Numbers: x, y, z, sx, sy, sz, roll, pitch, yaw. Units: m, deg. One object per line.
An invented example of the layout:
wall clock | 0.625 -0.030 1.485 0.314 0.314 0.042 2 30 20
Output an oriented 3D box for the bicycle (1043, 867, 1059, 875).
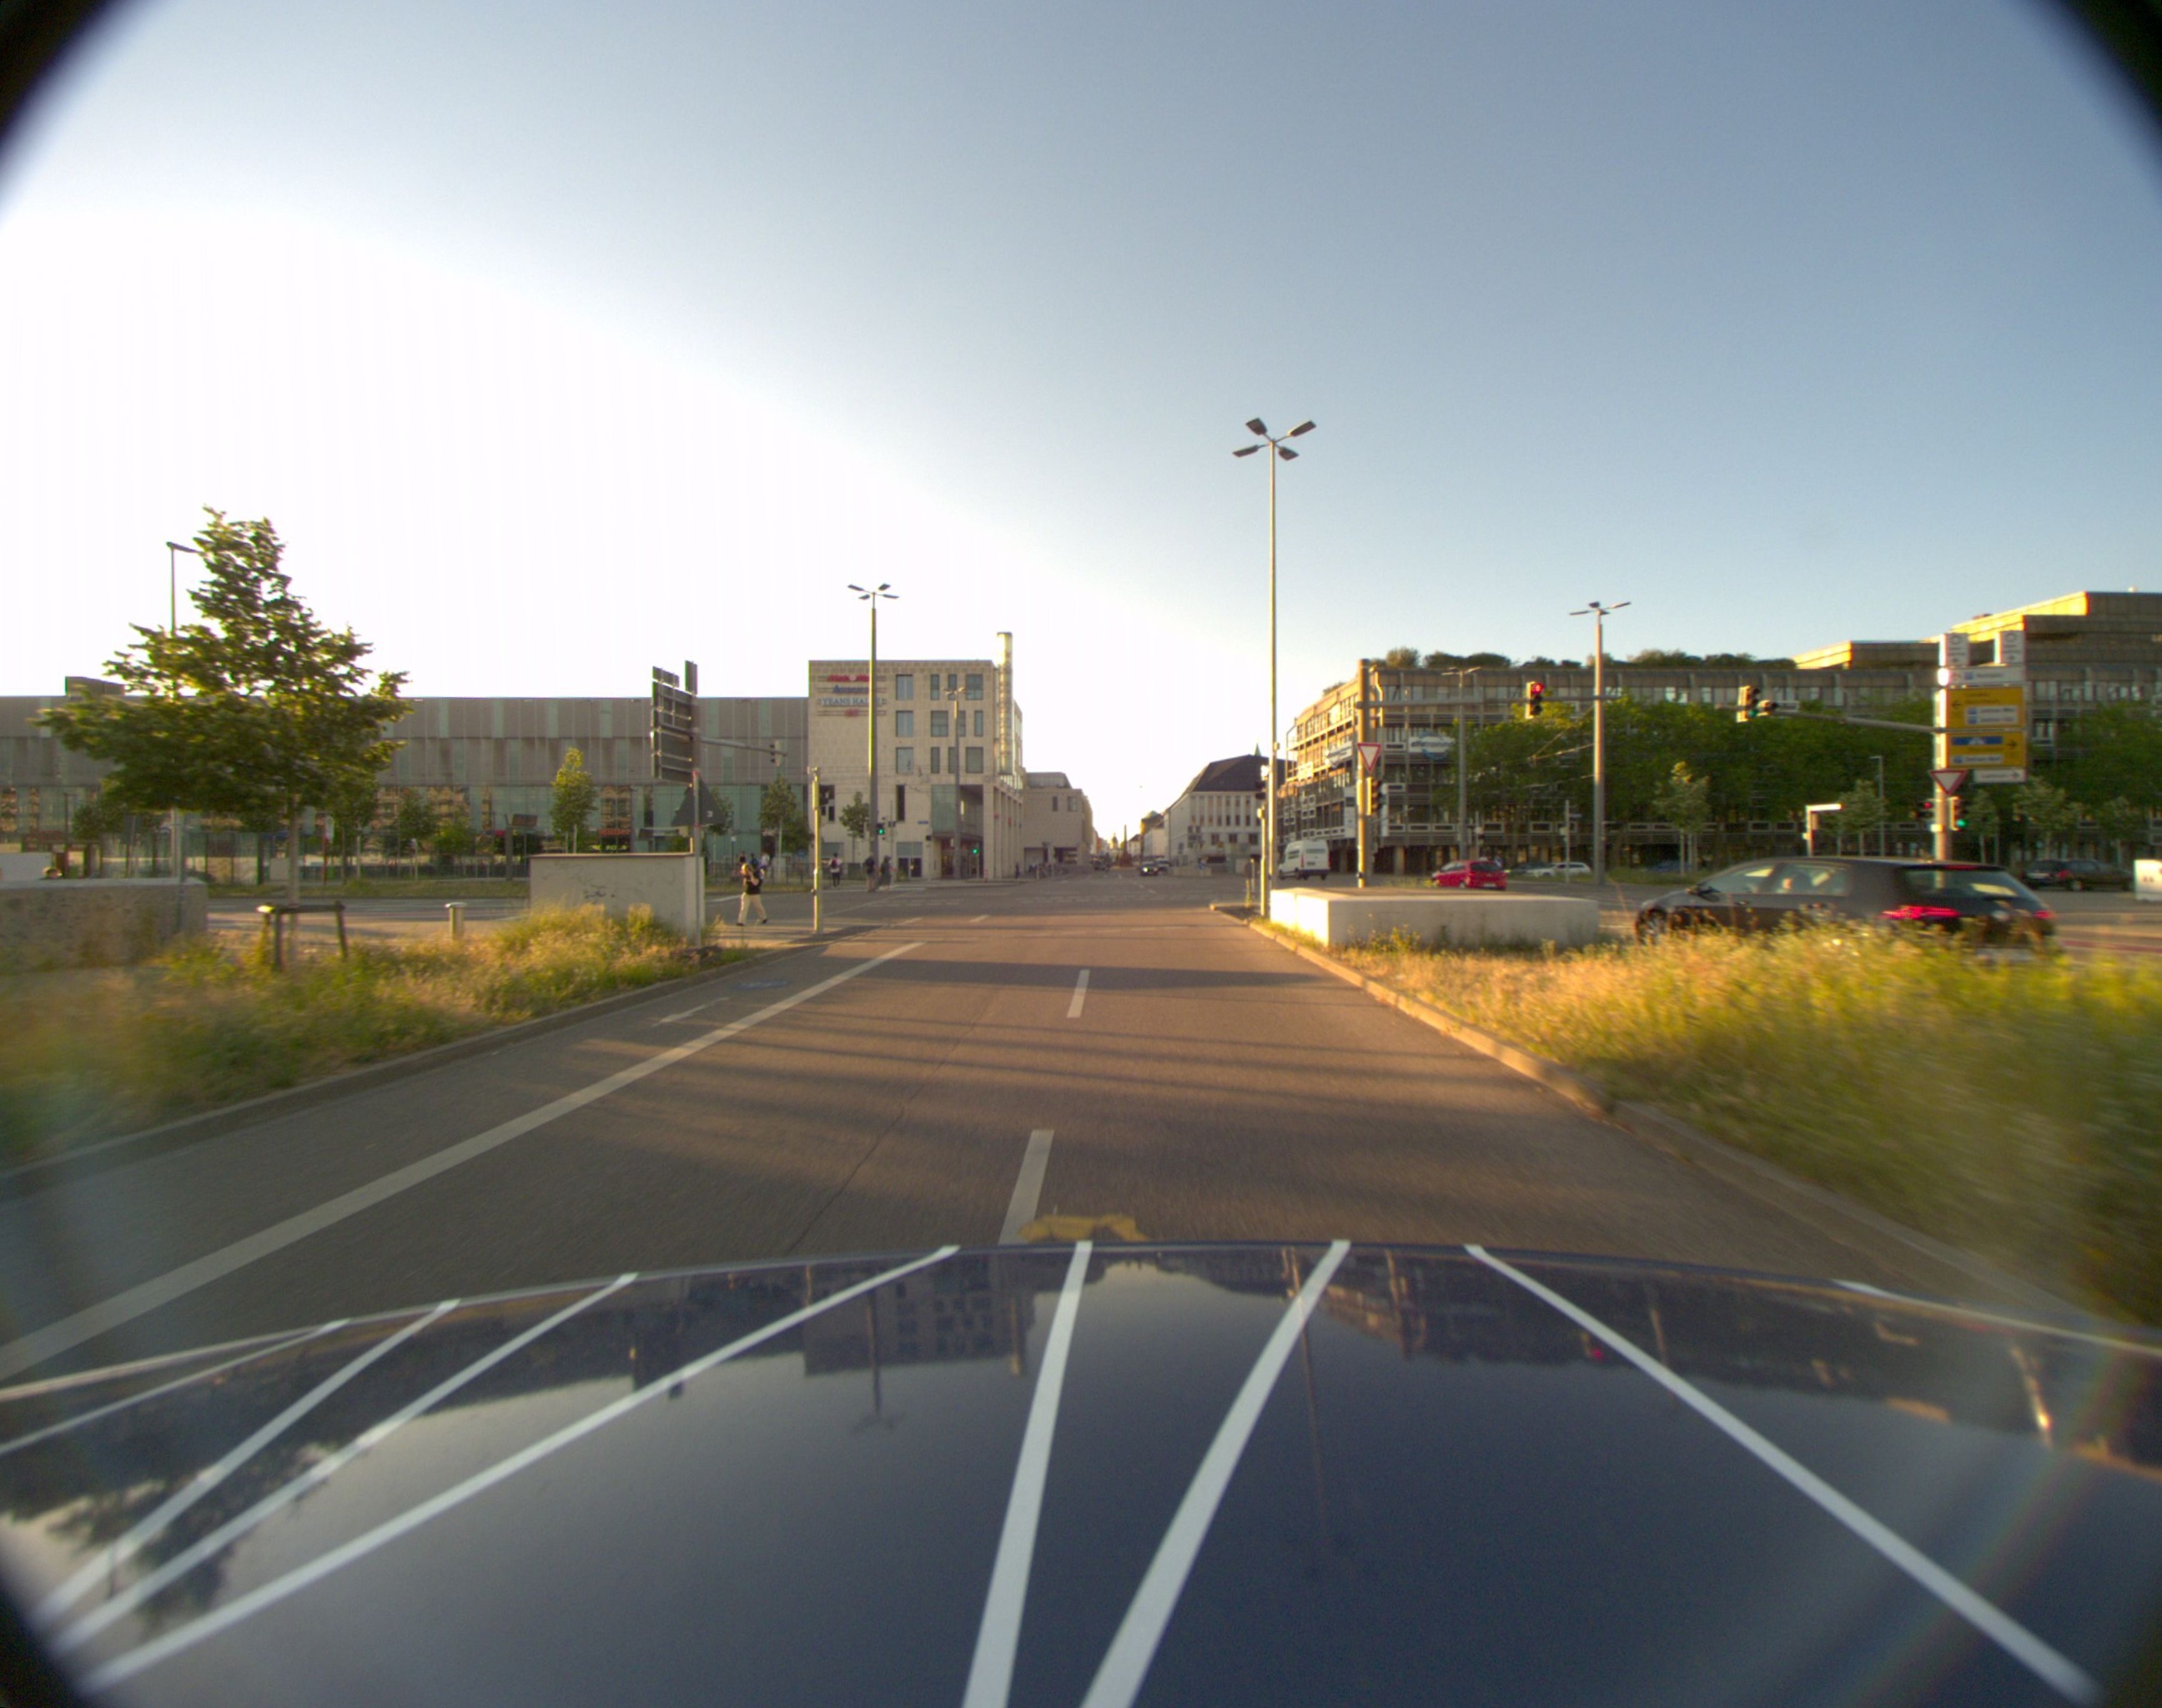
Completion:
bicycle | -3.853 2.195 97.322 2.023 1.035 0.509 0 0 0

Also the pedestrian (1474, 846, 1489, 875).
pedestrian | 26.728 0.422 50.672 0.644 1.920 0.681 0 0 -1

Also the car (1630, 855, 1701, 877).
car | 45.729 0.918 59.537 3.997 1.641 2.073 0 0 0

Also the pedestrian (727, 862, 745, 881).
pedestrian | -17.700 0.886 39.031 0.649 0.957 0.654 0 0 -3

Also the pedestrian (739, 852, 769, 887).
pedestrian | -16.509 0.769 38.380 0.868 1.715 1.009 3 2 28

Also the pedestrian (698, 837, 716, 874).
pedestrian | -18.772 0.055 38.132 0.604 1.843 0.586 0 1 5

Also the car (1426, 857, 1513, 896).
car | 16.691 0.933 32.852 1.639 1.518 3.999 -1 0 -2

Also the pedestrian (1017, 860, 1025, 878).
pedestrian | -5.722 1.459 72.394 0.765 1.696 0.834 0 0 -8

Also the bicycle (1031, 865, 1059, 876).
bicycle | -3.883 1.781 81.986 2.804 1.209 0.765 0 0 12

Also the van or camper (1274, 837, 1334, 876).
van or camper | 15.913 0.211 54.706 2.232 2.650 6.162 0 -1 -3

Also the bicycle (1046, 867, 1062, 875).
bicycle | -3.503 2.201 98.620 2.070 1.035 0.509 0 0 0

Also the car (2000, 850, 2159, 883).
car | 48.241 0.595 36.815 4.471 1.543 2.075 0 0 9

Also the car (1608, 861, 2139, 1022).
car | 9.003 0.844 9.401 1.891 1.457 4.538 0 0 1

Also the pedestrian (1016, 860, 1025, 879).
pedestrian | -5.715 1.449 71.283 0.764 1.696 0.834 0 0 0

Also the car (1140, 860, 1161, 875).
car | 7.564 1.455 83.073 2.071 1.641 4.001 0 0 3

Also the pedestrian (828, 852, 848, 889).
pedestrian | -11.897 0.809 37.204 0.644 1.803 0.871 0 1 4

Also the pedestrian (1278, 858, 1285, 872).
pedestrian | 23.726 1.329 89.761 0.645 1.702 0.682 0 0 4

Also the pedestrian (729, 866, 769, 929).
pedestrian | -8.635 1.116 19.810 0.644 1.618 0.871 0 0 0

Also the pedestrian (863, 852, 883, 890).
pedestrian | -9.544 0.749 34.879 0.644 1.720 0.871 0 1 4

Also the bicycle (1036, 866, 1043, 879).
bicycle | -4.355 1.895 79.821 0.618 1.316 2.509 0 0 0

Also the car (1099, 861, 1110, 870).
car | 4.623 2.266 151.233 2.071 1.641 4.001 0 0 3

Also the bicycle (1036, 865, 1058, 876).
bicycle | -3.886 1.903 87.068 2.507 1.316 0.619 0 1 2

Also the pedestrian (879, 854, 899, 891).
pedestrian | -8.779 0.826 34.801 0.644 1.650 0.871 0 1 4

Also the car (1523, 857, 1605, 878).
car | 37.791 1.079 59.512 5.159 1.575 2.000 0 0 2

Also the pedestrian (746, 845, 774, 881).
pedestrian | -16.736 0.462 39.600 0.892 1.843 1.007 3 2 14

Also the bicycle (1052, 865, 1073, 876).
bicycle | -2.235 1.989 91.718 2.507 1.316 0.619 0 1 2

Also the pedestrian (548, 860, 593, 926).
pedestrian | -13.429 1.005 20.012 0.644 1.702 0.763 0 0 4

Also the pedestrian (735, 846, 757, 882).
pedestrian | -17.562 0.538 39.830 0.896 1.843 0.724 1 2 -31
